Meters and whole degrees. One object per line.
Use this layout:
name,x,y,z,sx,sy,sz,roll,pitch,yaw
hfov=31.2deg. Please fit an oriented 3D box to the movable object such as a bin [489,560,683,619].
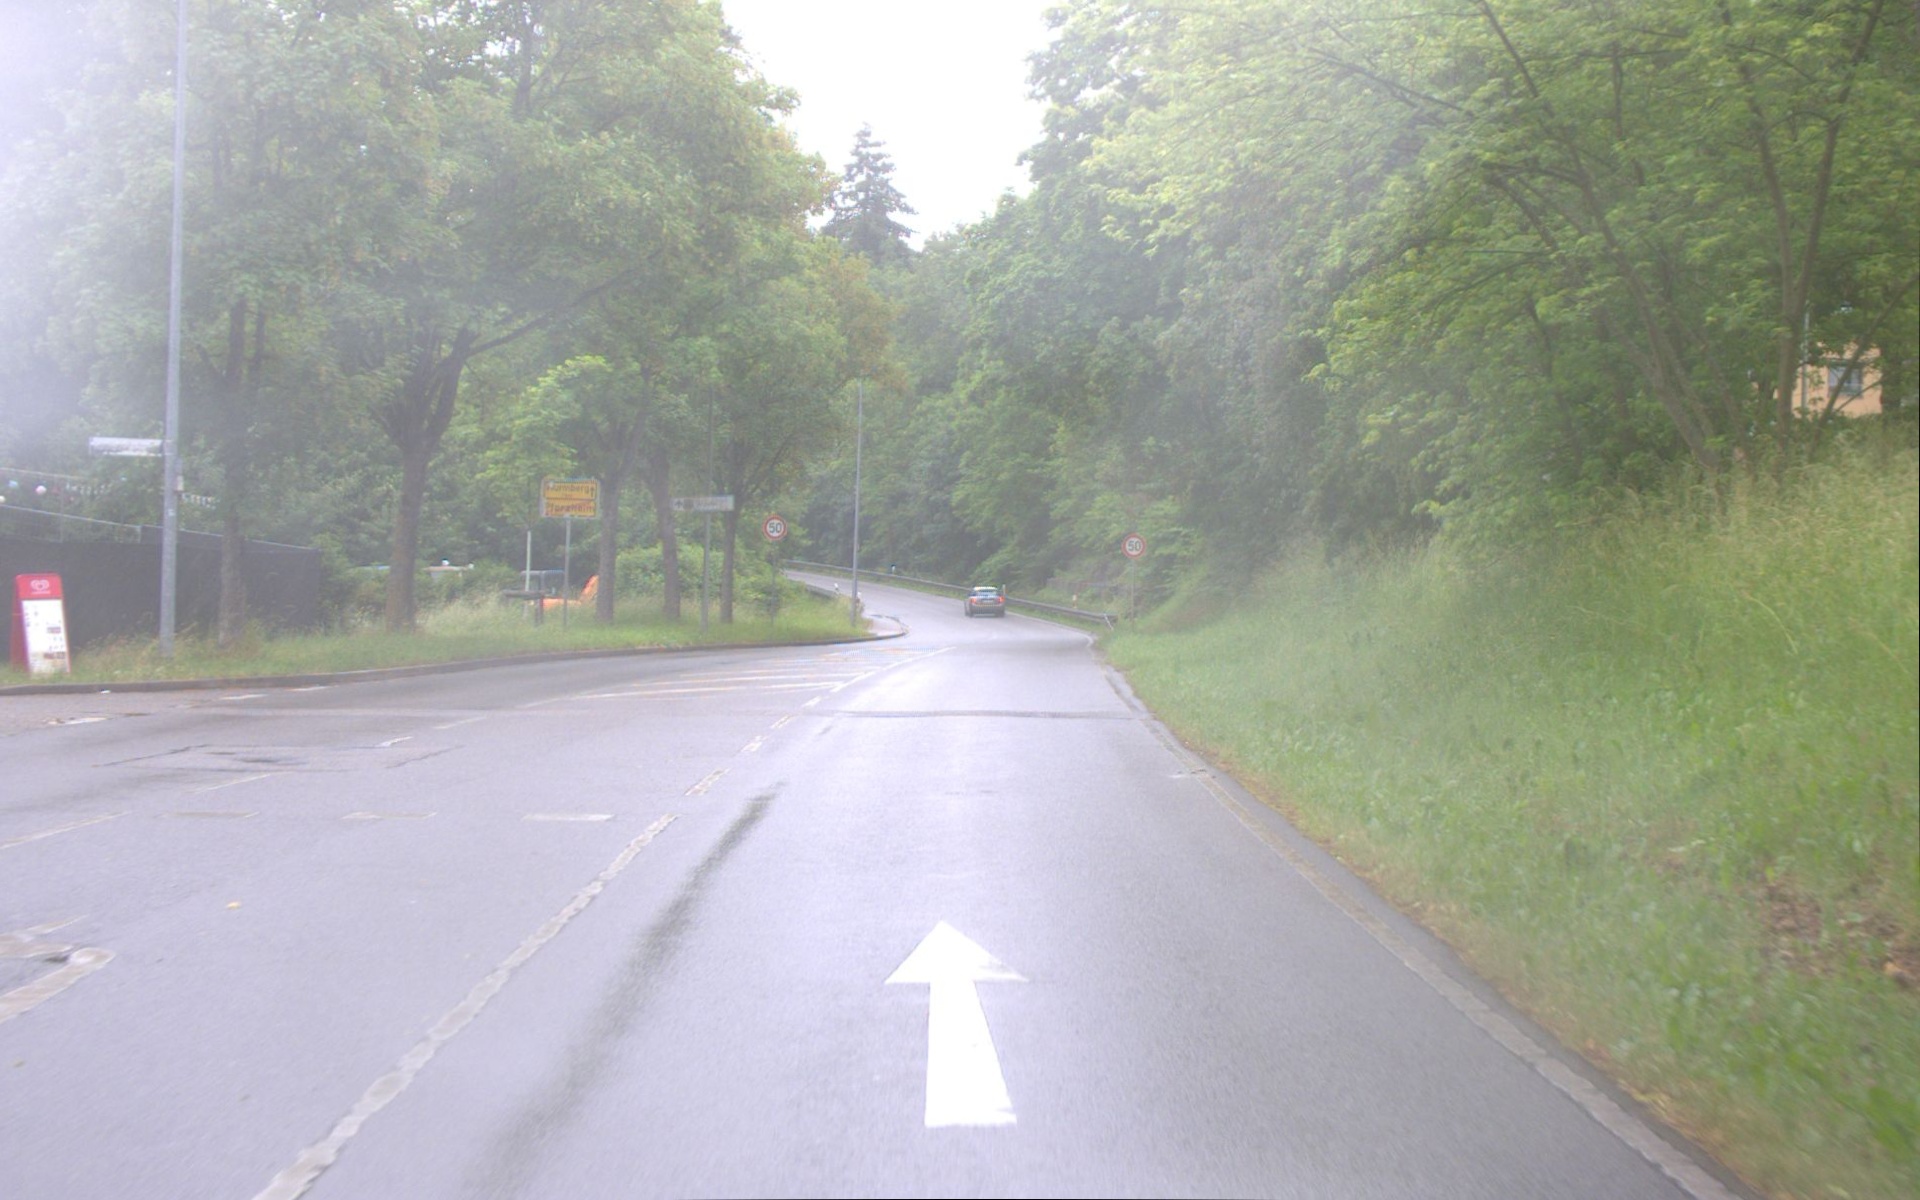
movable object such as a bin,-12.313,-0.333,113.853,1.850,1.901,7.893,0,0,33

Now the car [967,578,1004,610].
car,1.258,-0.310,168.580,1.736,1.505,4.000,-1,1,0
